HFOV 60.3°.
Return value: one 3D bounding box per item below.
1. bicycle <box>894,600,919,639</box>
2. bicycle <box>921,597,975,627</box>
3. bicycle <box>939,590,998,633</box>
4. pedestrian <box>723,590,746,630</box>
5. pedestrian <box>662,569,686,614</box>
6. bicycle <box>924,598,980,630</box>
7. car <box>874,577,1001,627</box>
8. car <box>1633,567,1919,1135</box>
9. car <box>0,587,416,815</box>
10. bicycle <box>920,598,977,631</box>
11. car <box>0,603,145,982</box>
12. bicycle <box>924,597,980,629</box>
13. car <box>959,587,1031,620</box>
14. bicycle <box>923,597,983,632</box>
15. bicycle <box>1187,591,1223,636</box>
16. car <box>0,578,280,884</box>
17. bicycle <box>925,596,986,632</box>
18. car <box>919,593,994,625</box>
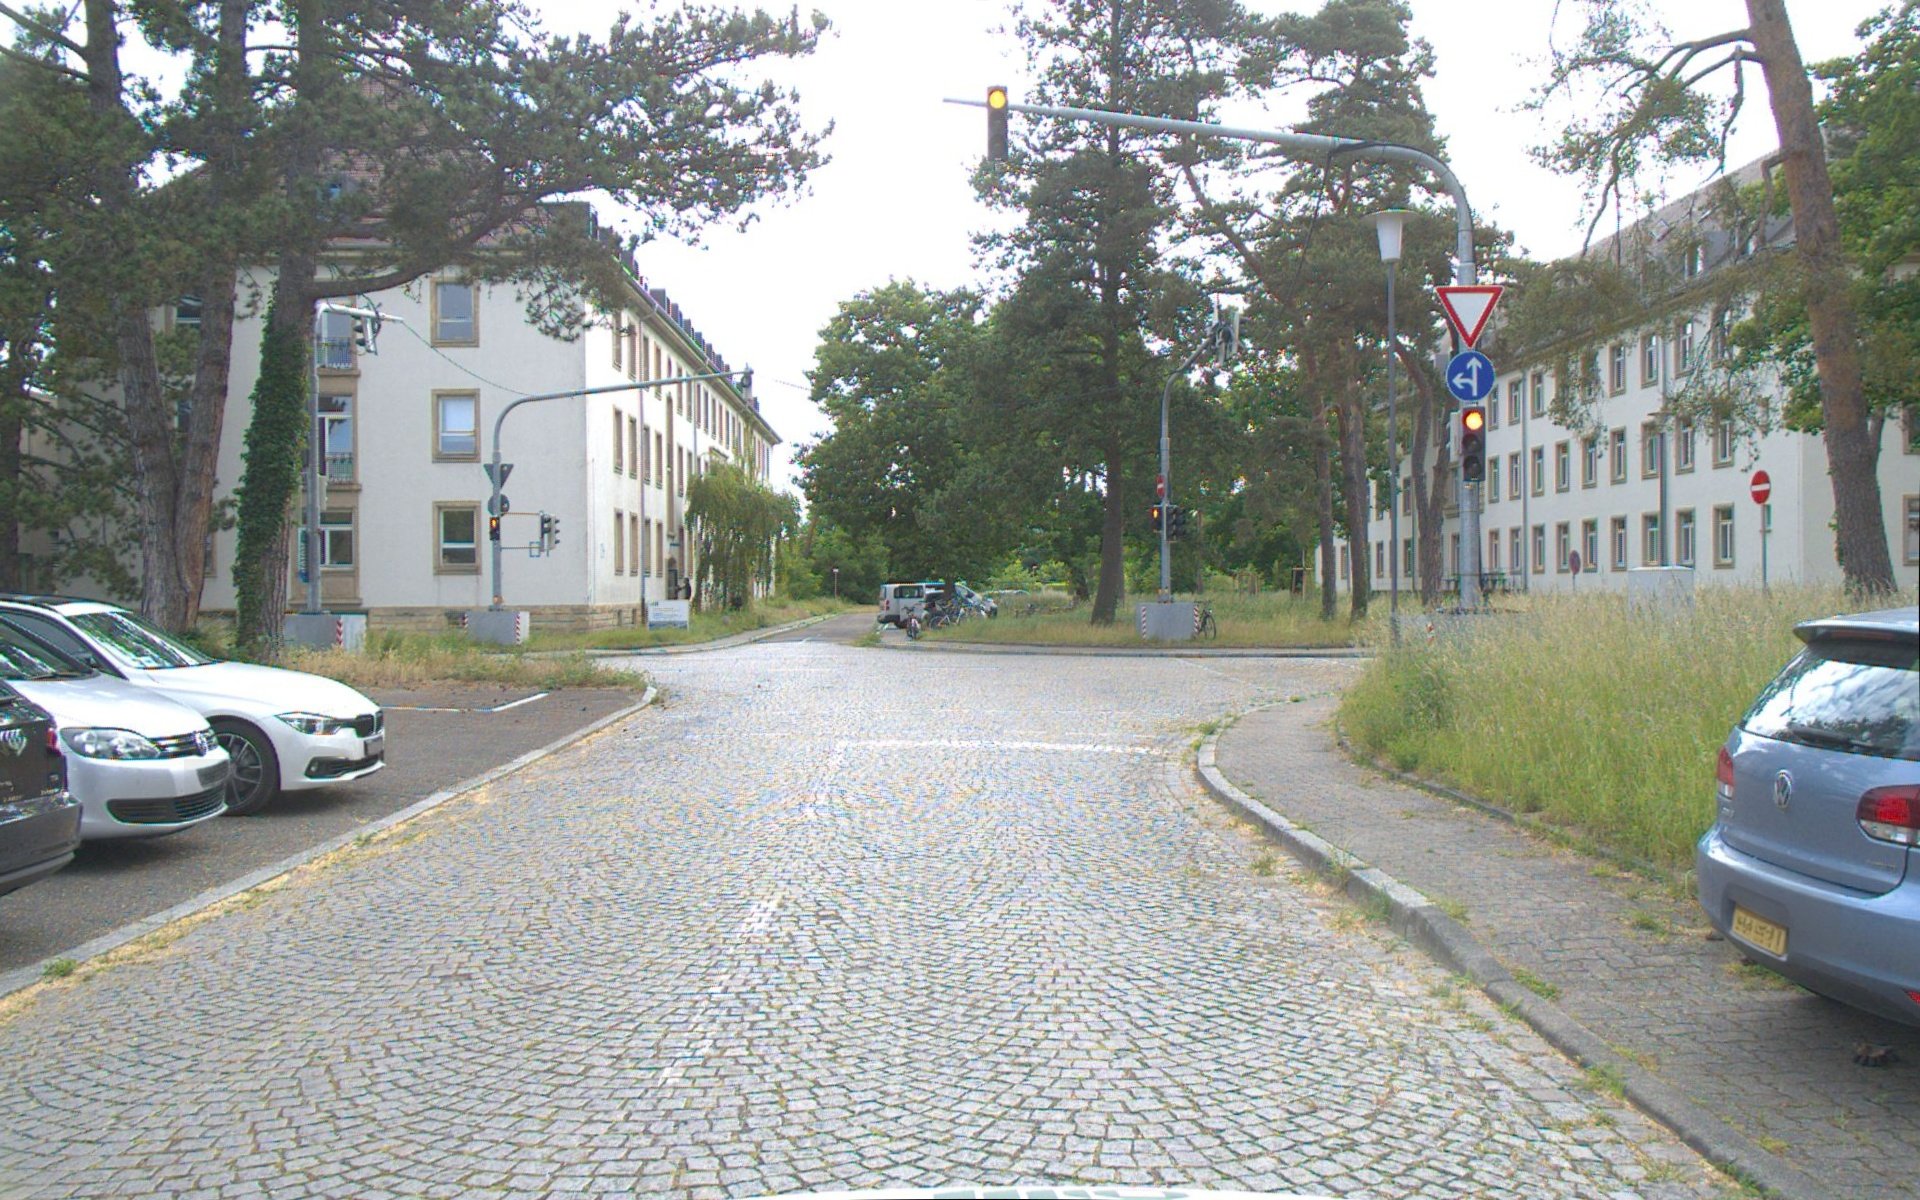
[{"bbox_3d":[-1.647,0.579,50.756,0.591,1.152,1.958,0,0,-7],"label":"bicycle"},{"bbox_3d":[-0.439,0.443,61.144,1.931,1.088,0.583,-1,0,-27],"label":"bicycle"},{"bbox_3d":[0.273,0.376,55.475,1.918,1.408,0.587,-1,0,-9],"label":"bicycle"},{"bbox_3d":[-9.359,0.402,68.701,0.757,1.646,0.741,-1,0,9],"label":"pedestrian"},{"bbox_3d":[-12.010,-0.344,69.380,0.767,1.869,0.732,-1,0,-33],"label":"pedestrian"},{"bbox_3d":[-0.264,0.476,57.462,1.936,1.088,0.582,-1,0,-32],"label":"bicycle"},{"bbox_3d":[-0.997,0.072,72.060,5.264,1.958,2.020,-2,0,-11],"label":"car"},{"bbox_3d":[4.424,0.602,5.283,3.847,1.503,1.642,-2,0,0],"label":"car"},{"bbox_3d":[-6.201,0.672,12.077,3.868,1.446,1.649,2,0,-2],"label":"car"},{"bbox_3d":[-0.378,0.483,56.108,1.936,1.088,0.582,-1,0,-32],"label":"bicycle"},{"bbox_3d":[-5.599,0.701,6.773,3.672,1.453,1.581,2,0,-5],"label":"car"},{"bbox_3d":[-0.275,0.454,58.816,1.931,1.088,0.583,-1,0,-27],"label":"bicycle"},{"bbox_3d":[1.580,0.143,76.019,3.168,1.441,1.724,-1,0,-4],"label":"car"},{"bbox_3d":[-0.235,0.466,54.629,1.918,1.136,0.587,-1,0,-9],"label":"bicycle"},{"bbox_3d":[6.228,0.330,42.078,0.574,1.125,1.961,0,0,-2],"label":"bicycle"},{"bbox_3d":[-6.223,0.651,9.539,3.870,1.590,1.649,2,0,-5],"label":"car"},{"bbox_3d":[-0.156,0.446,53.998,1.918,1.152,0.587,-1,0,-9],"label":"bicycle"},{"bbox_3d":[-0.151,0.366,68.710,2.949,1.290,1.533,-1,0,-8],"label":"car"}]
